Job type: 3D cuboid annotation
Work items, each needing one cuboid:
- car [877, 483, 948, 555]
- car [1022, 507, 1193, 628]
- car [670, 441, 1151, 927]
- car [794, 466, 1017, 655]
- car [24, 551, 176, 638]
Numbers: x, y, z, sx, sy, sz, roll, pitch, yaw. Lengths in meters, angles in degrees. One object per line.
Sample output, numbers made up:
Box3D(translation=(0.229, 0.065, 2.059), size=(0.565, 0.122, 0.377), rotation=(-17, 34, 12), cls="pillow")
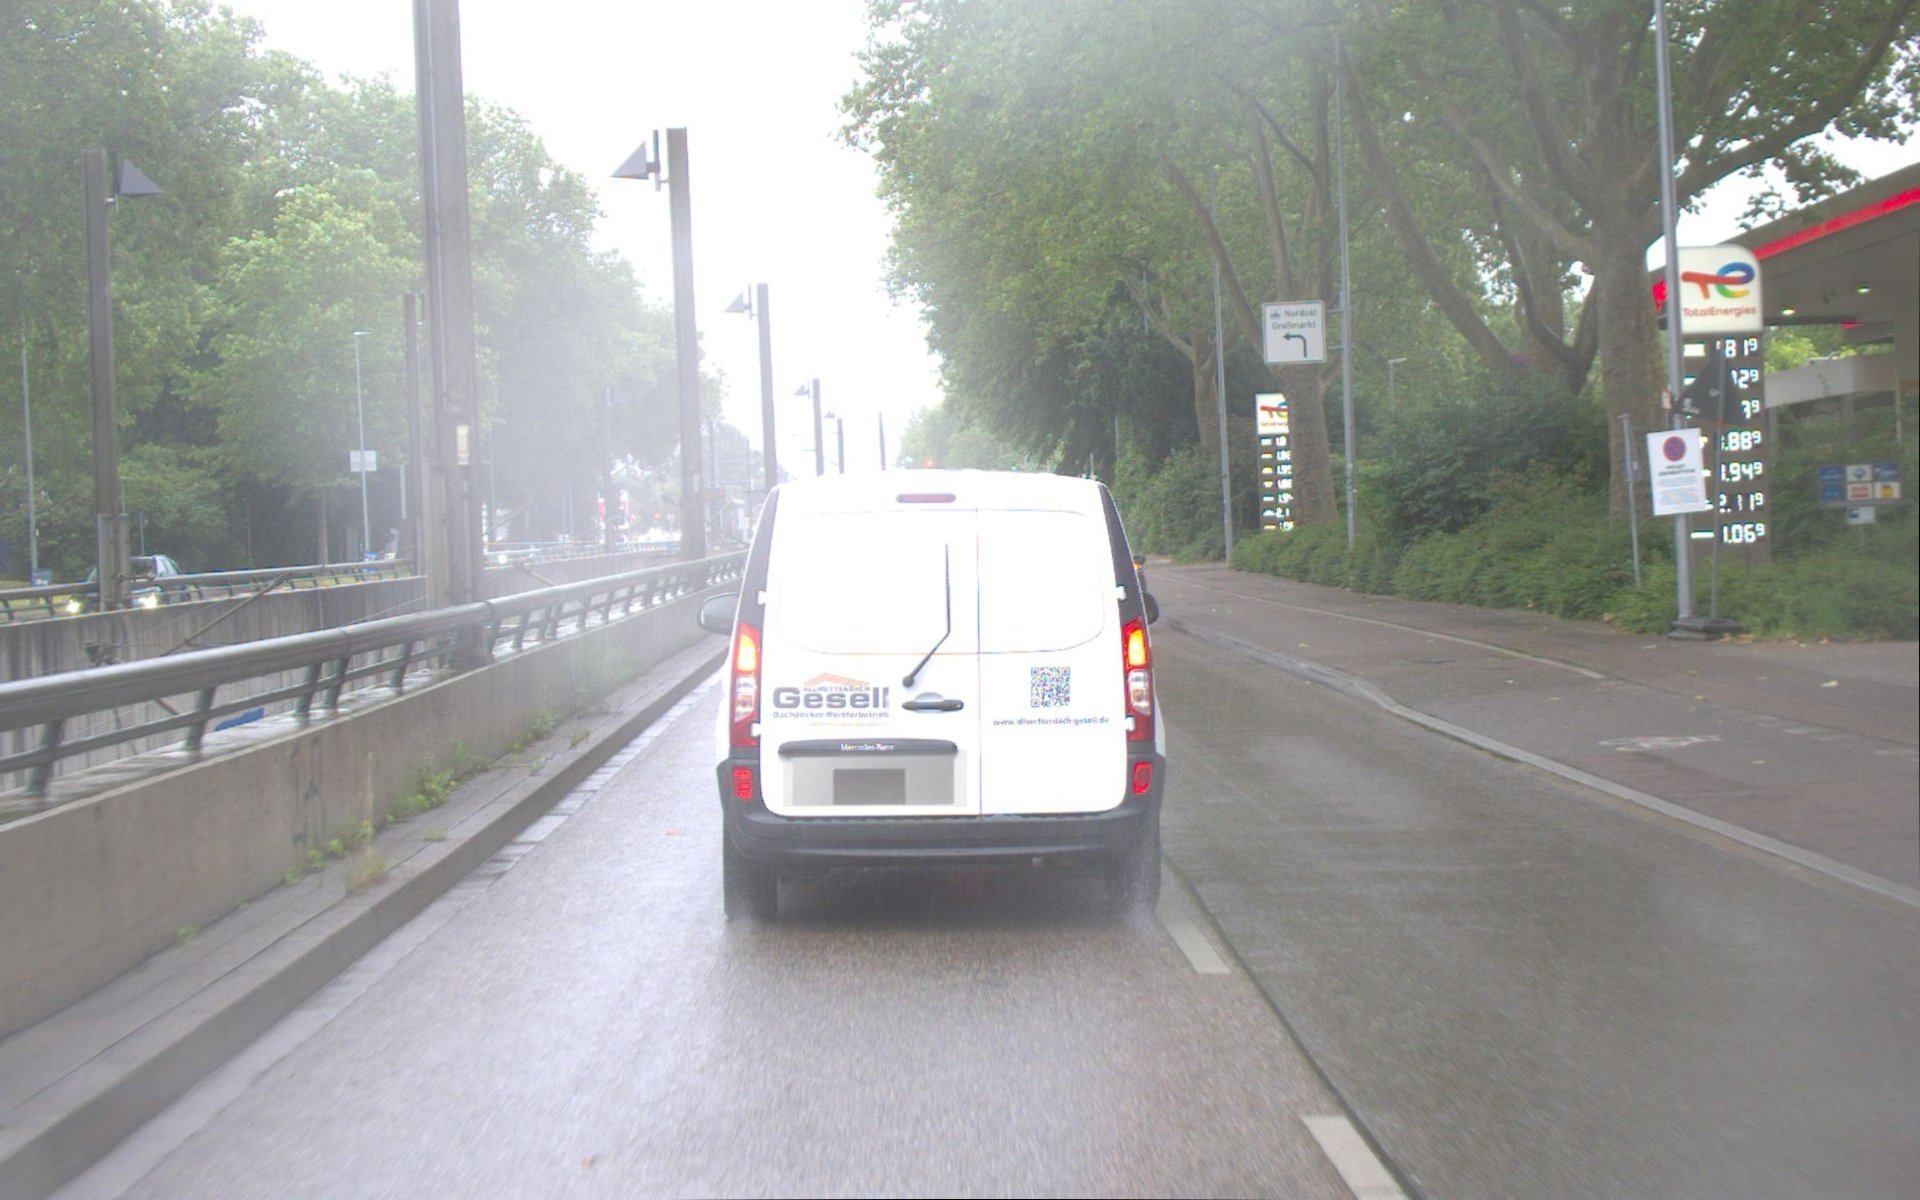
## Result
Box3D(translation=(-1.470, -2.511, 107.206), size=(2.048, 2.132, 4.000), rotation=(-2, 1, 0), cls="car")
Box3D(translation=(2.087, -0.476, 49.797), size=(1.993, 1.579, 4.001), rotation=(-3, 1, -3), cls="car")
Box3D(translation=(-0.255, 0.264, 14.683), size=(1.755, 1.771, 4.001), rotation=(-1, 1, -2), cls="car")
Box3D(translation=(-0.524, -0.385, 32.614), size=(1.917, 1.603, 4.000), rotation=(-2, 1, -1), cls="car")
Box3D(translation=(-17.336, -0.133, 69.496), size=(1.907, 1.565, 4.000), rotation=(-2, 2, 2), cls="car")
